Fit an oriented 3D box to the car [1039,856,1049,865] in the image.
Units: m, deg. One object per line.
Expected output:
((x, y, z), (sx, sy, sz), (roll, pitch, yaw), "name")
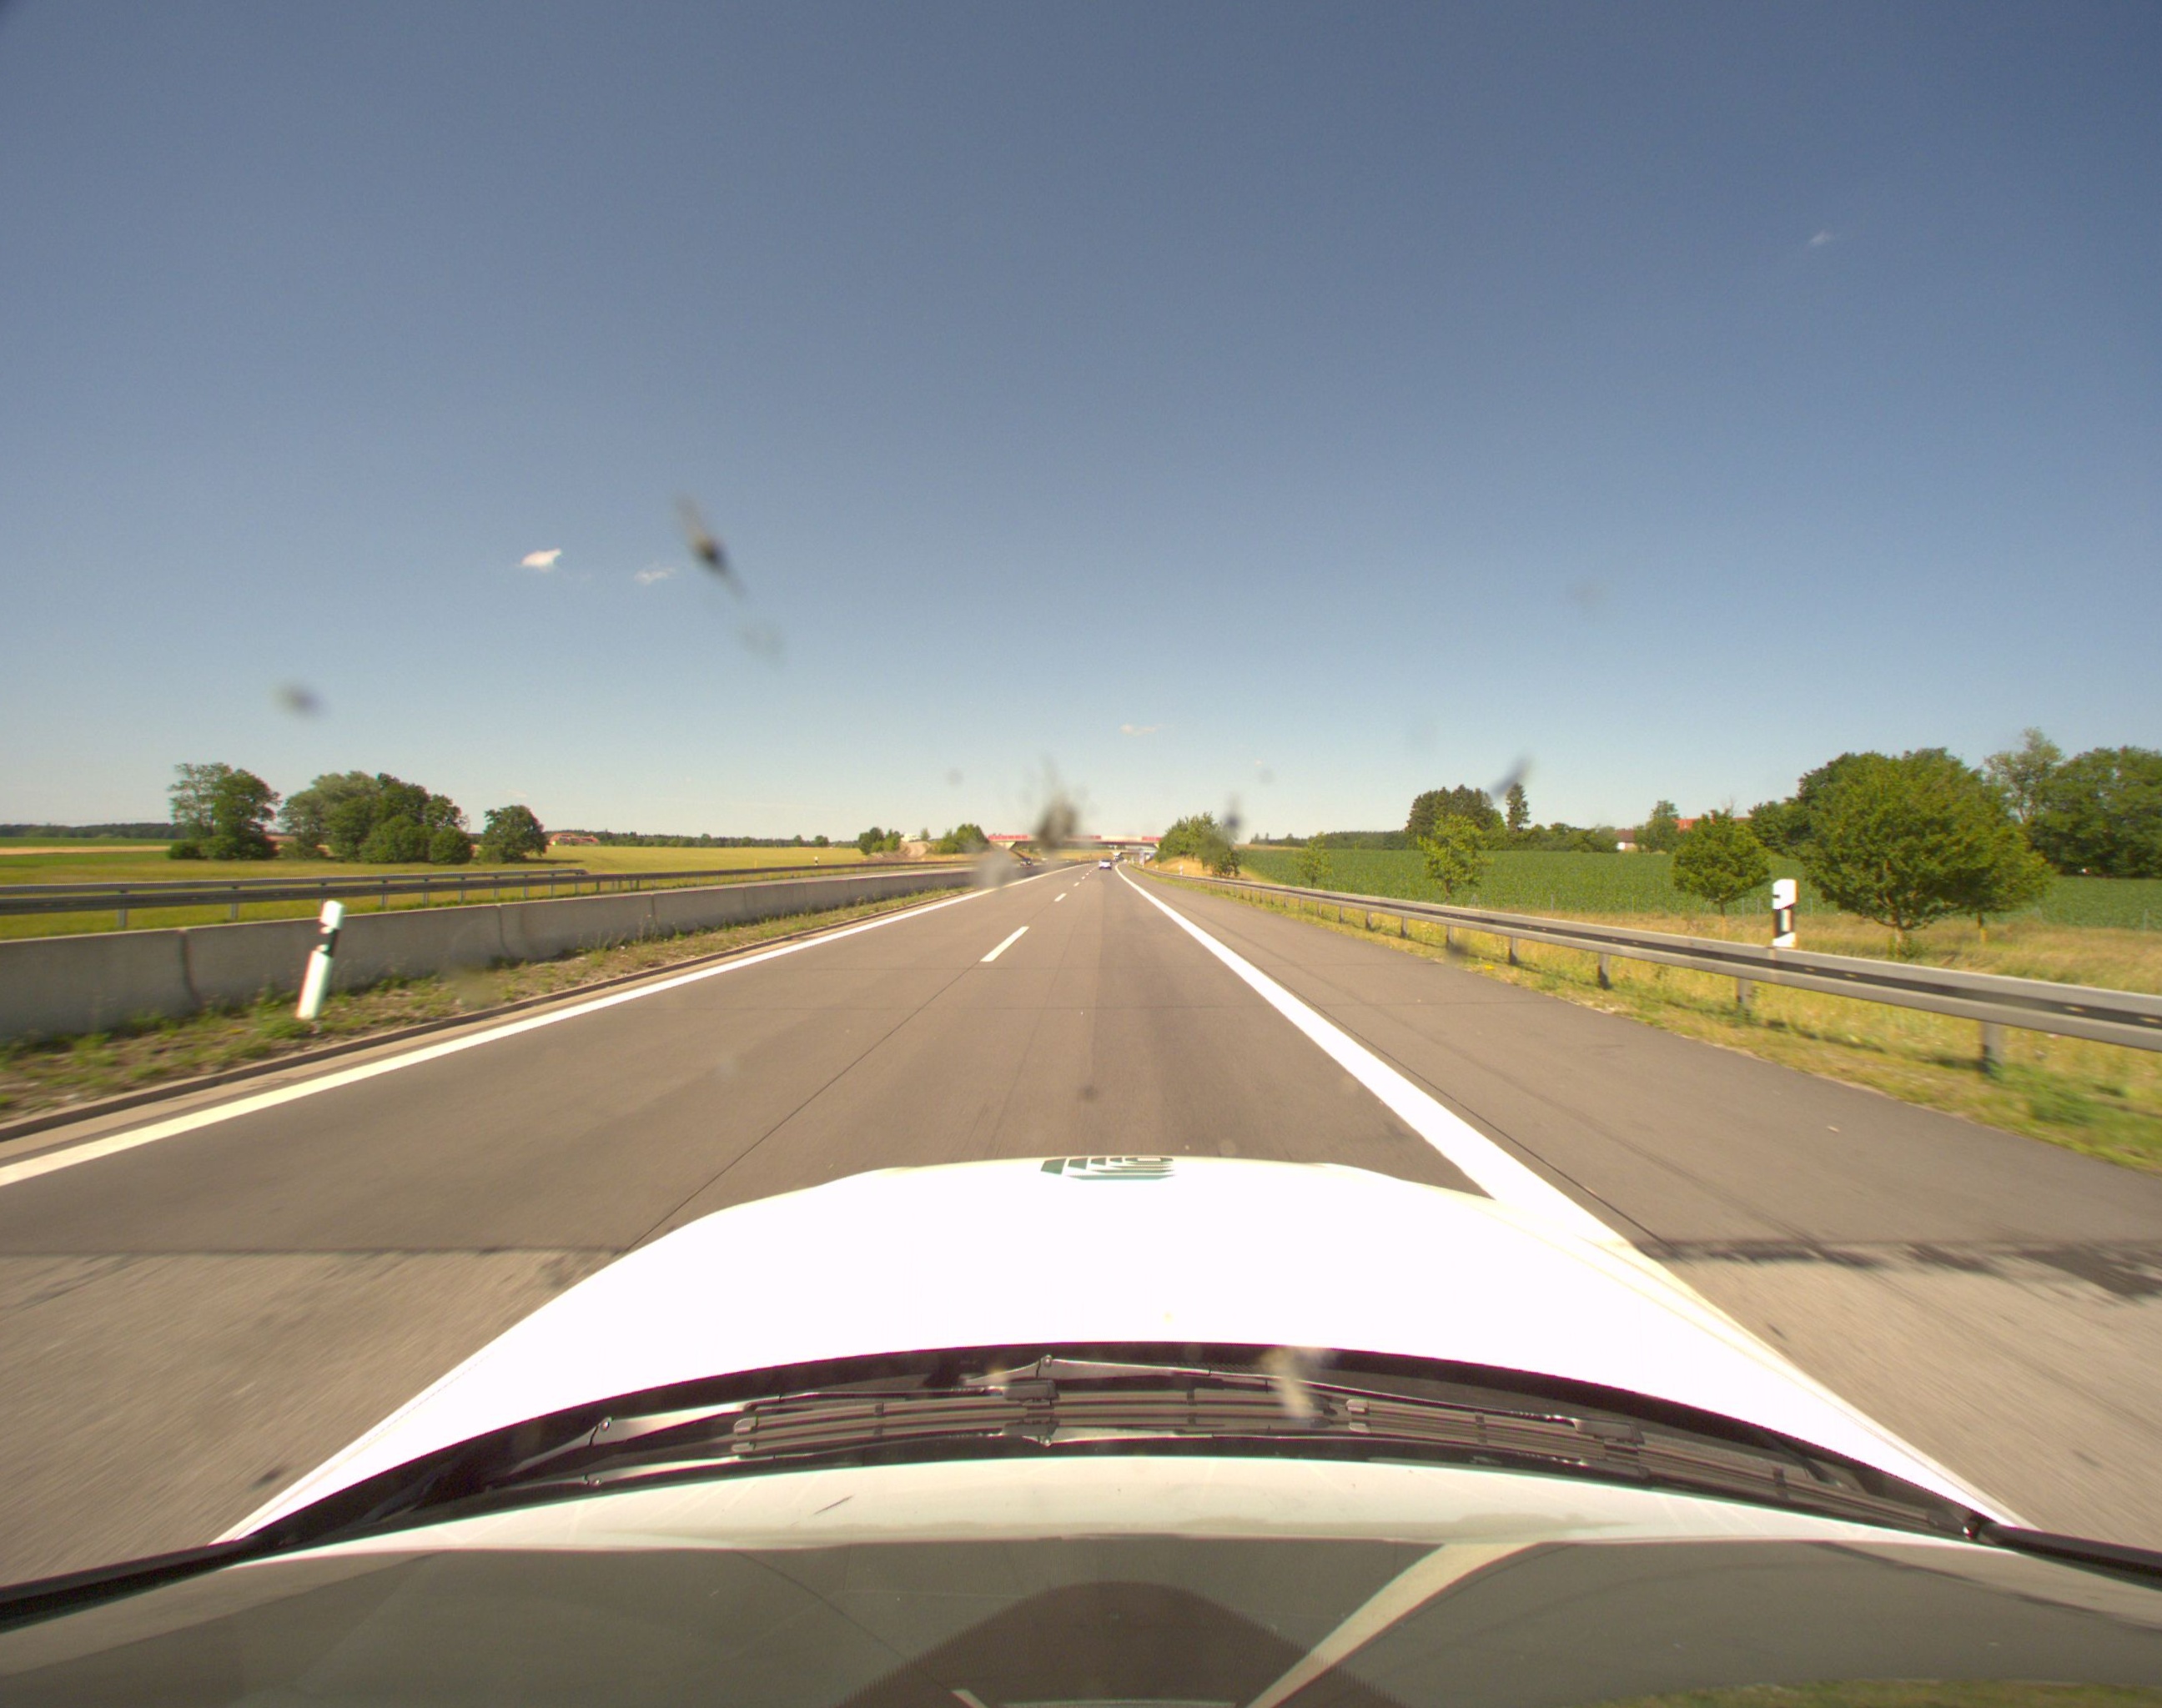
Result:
((-8.696, 1.551, 190.952), (1.987, 2.014, 5.715), (3, -1, 1), "car")

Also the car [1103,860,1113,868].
((5.793, 2.187, 173.625), (1.985, 1.731, 4.874), (0, 0, 4), "car")

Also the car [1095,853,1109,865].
((3.121, 0.731, 121.731), (1.985, 1.731, 4.872), (1, 0, 3), "car")

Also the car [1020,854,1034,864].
((-9.153, 0.827, 138.111), (1.900, 1.685, 5.009), (3, 0, 2), "car")
